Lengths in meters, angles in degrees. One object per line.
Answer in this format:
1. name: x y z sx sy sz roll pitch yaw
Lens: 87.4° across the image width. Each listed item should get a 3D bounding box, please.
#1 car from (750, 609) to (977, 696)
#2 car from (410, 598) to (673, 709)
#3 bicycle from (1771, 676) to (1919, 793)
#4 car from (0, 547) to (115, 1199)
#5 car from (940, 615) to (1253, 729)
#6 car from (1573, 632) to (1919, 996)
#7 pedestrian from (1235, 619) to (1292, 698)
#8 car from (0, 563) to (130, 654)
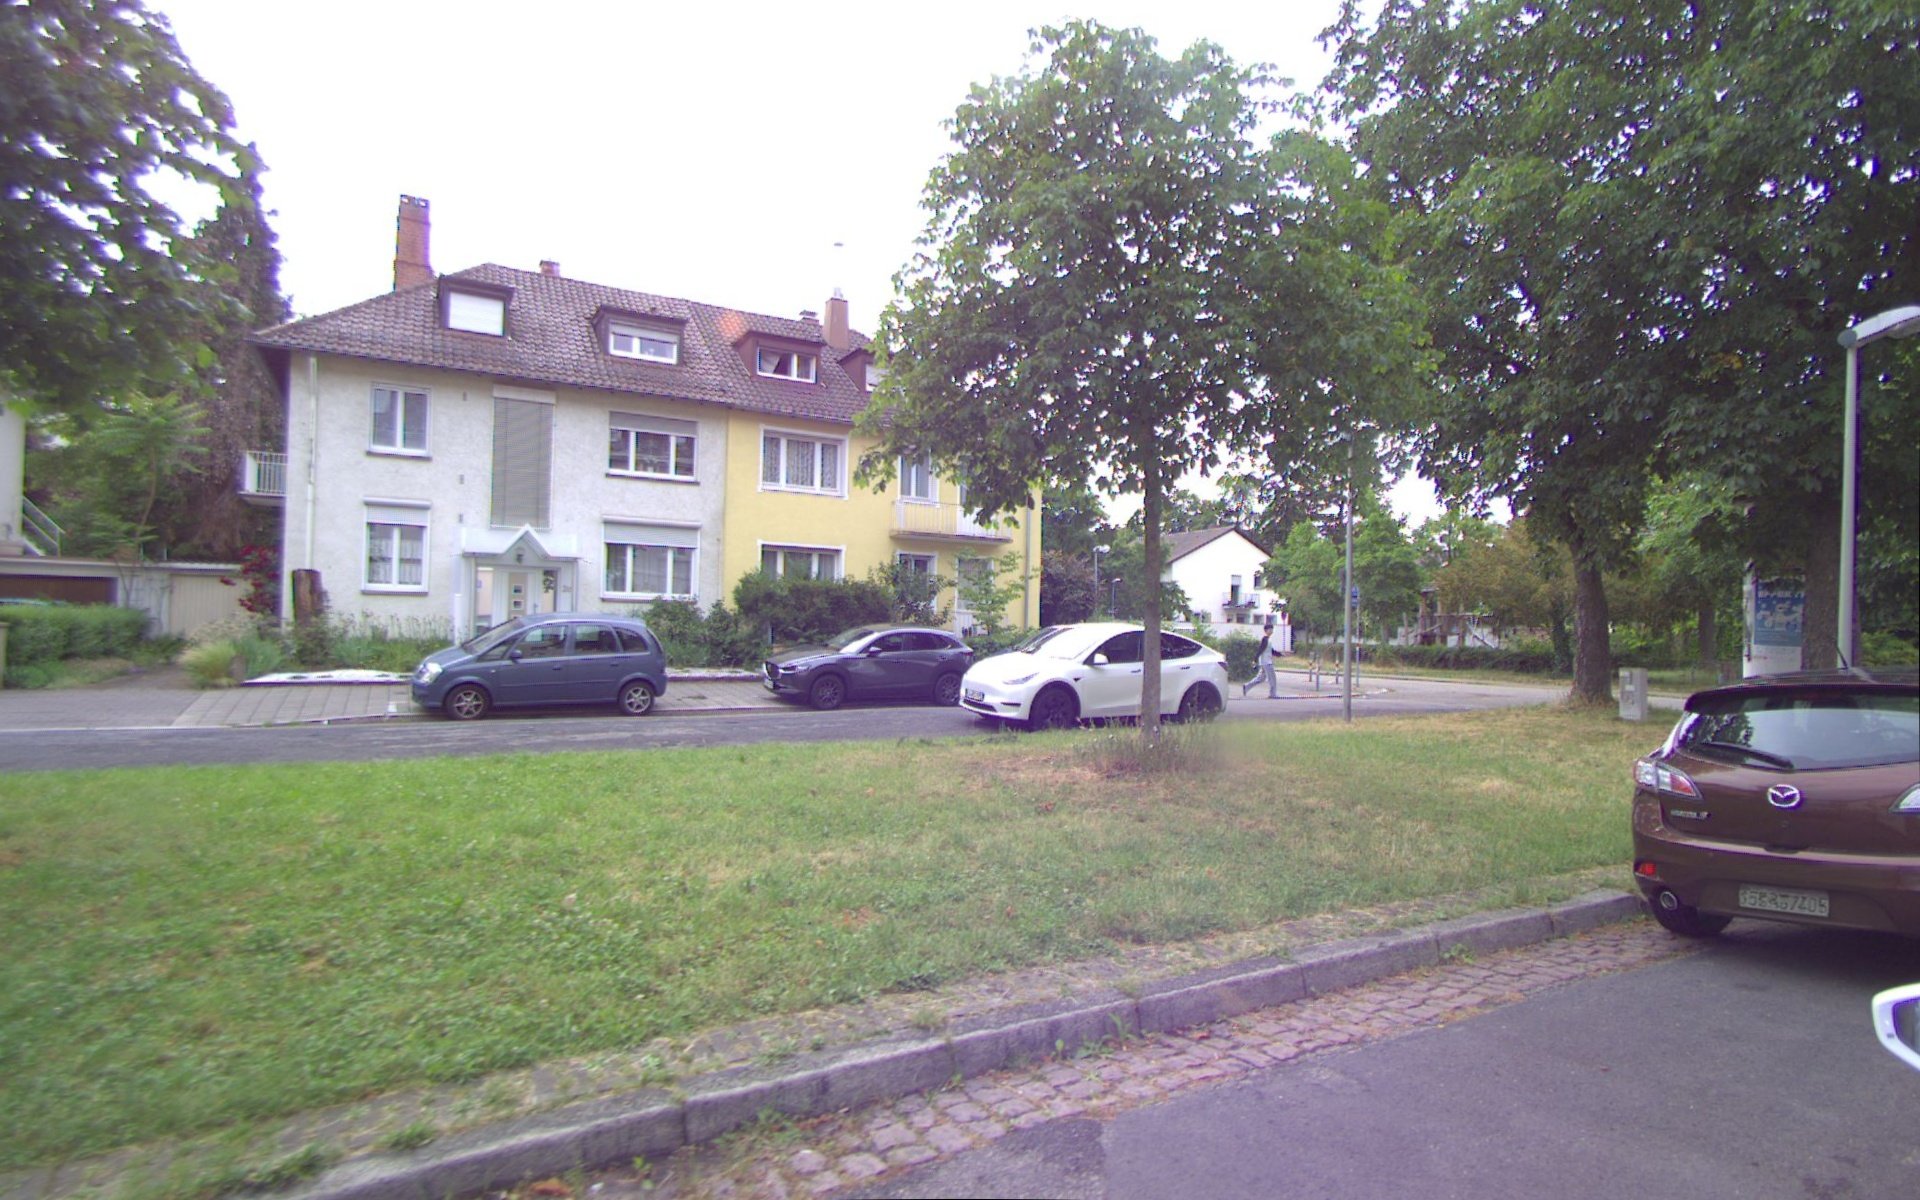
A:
1. car: -1.876 1.030 19.925 4.118 1.520 1.705 2 0 -30
2. car: -7.003 0.868 16.887 3.841 1.623 1.705 2 0 -31
3. bicycle: 9.186 1.335 10.315 1.861 1.080 0.663 2 -2 -28
4. car: -3.467 0.567 0.460 4.395 1.476 1.704 2 -6 -30
5. car: 2.243 1.120 16.054 4.827 1.587 1.888 3 -2 -30
6. car: 5.466 0.988 5.570 4.113 1.476 1.704 2 -6 -30
7. pedestrian: 7.485 1.425 24.755 1.196 1.860 0.878 1 -2 24
8. car: -19.450 0.131 21.367 1.976 1.751 3.970 2 0 -28
